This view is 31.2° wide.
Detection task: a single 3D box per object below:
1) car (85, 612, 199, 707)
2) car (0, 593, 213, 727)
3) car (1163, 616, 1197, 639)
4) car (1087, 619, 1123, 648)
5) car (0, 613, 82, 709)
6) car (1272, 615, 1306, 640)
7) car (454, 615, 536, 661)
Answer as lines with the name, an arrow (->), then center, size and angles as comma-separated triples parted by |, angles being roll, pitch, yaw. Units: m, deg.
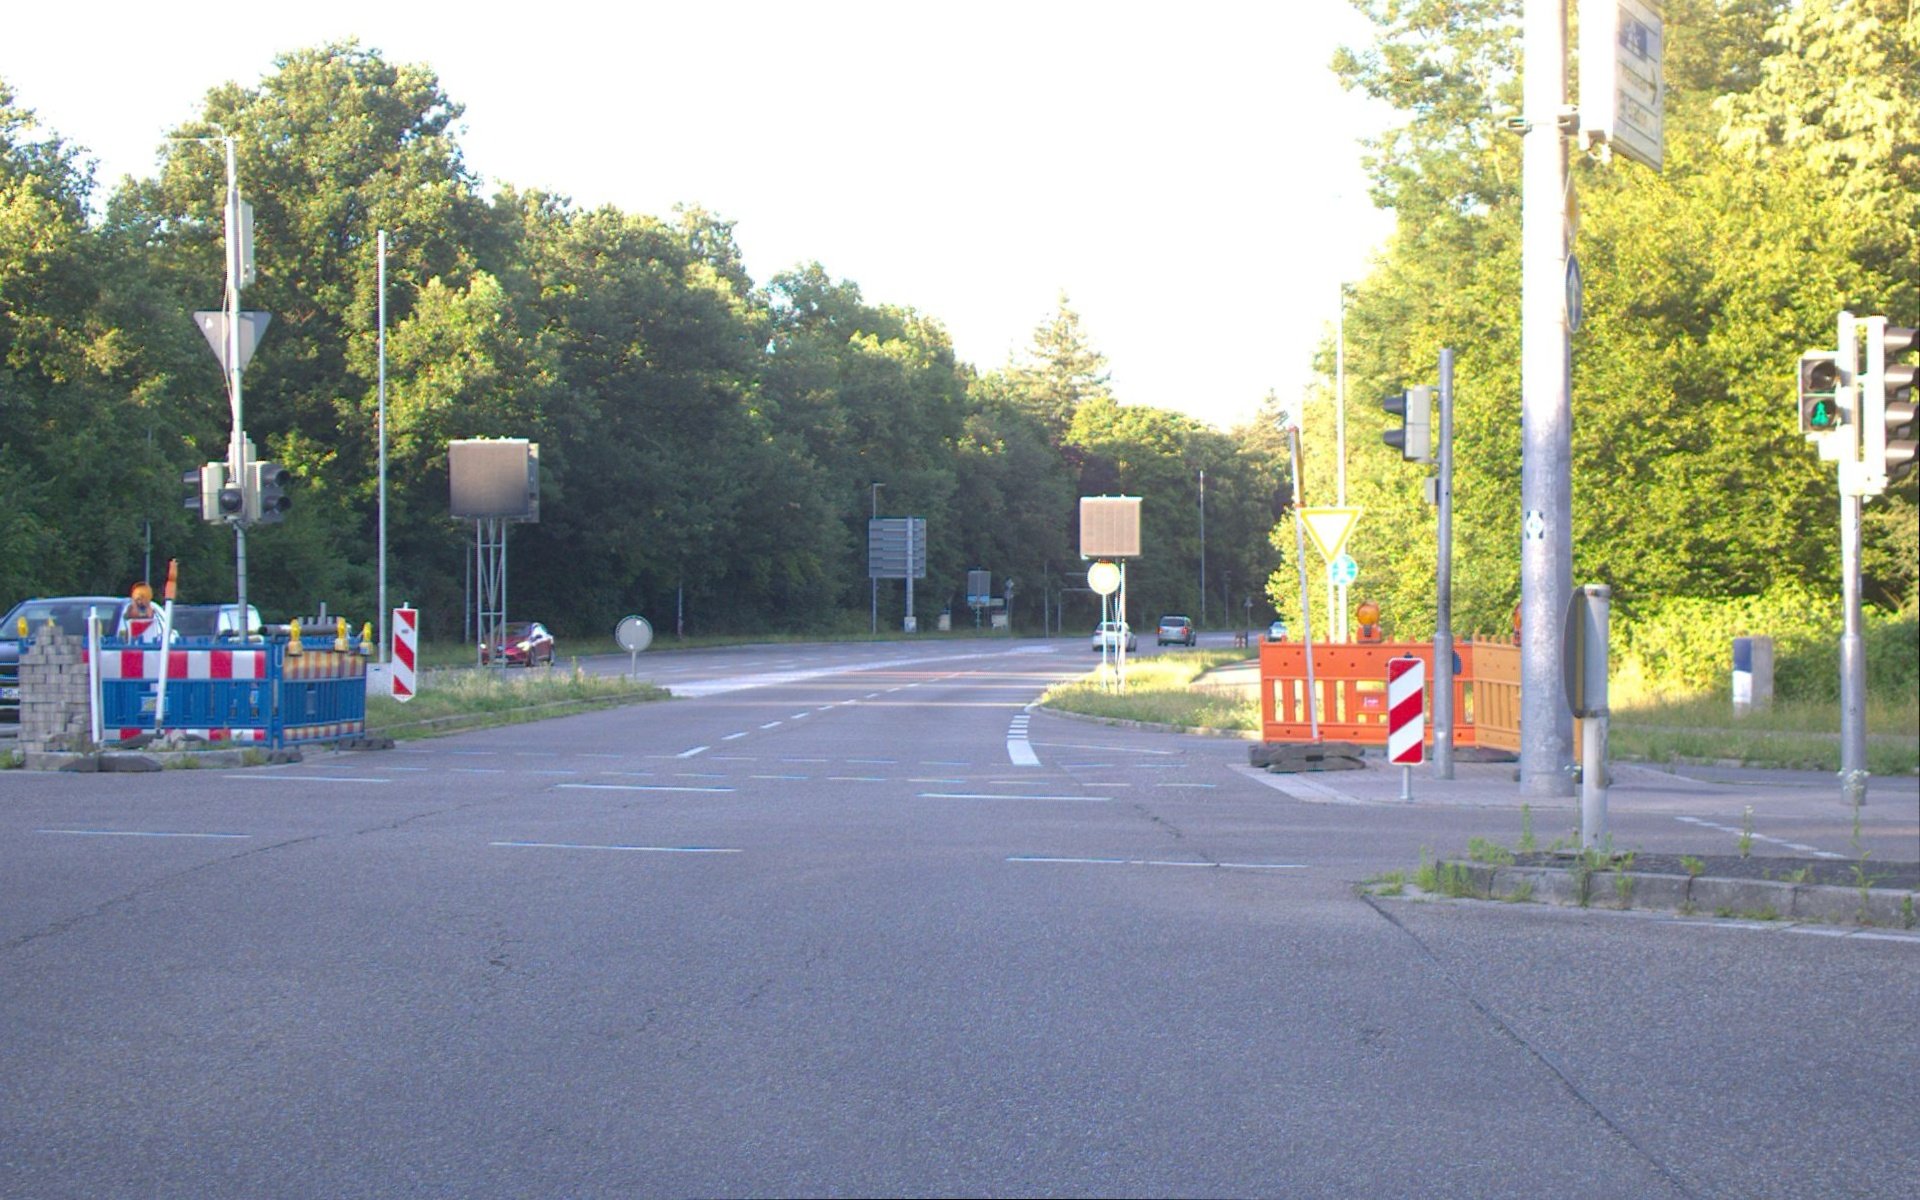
car -> -18.170, 1.292, 76.512 | 1.877, 2.017, 4.234 | 0, 0, -5
car -> -10.043, 0.651, 39.593 | 1.716, 1.451, 4.233 | 0, 0, 4
car -> 12.228, 1.506, 190.728 | 1.456, 1.240, 2.962 | 0, 0, 12
car -> 6.981, 1.586, 165.342 | 1.547, 1.343, 3.113 | 0, 0, 7
car -> -15.453, 0.943, 54.593 | 1.716, 1.451, 4.233 | 0, 0, 3
car -> 20.845, 1.753, 217.582 | 1.578, 1.529, 3.675 | 1, 0, 14
car -> -14.983, 1.208, 111.012 | 1.878, 1.417, 4.233 | 0, 0, 3
